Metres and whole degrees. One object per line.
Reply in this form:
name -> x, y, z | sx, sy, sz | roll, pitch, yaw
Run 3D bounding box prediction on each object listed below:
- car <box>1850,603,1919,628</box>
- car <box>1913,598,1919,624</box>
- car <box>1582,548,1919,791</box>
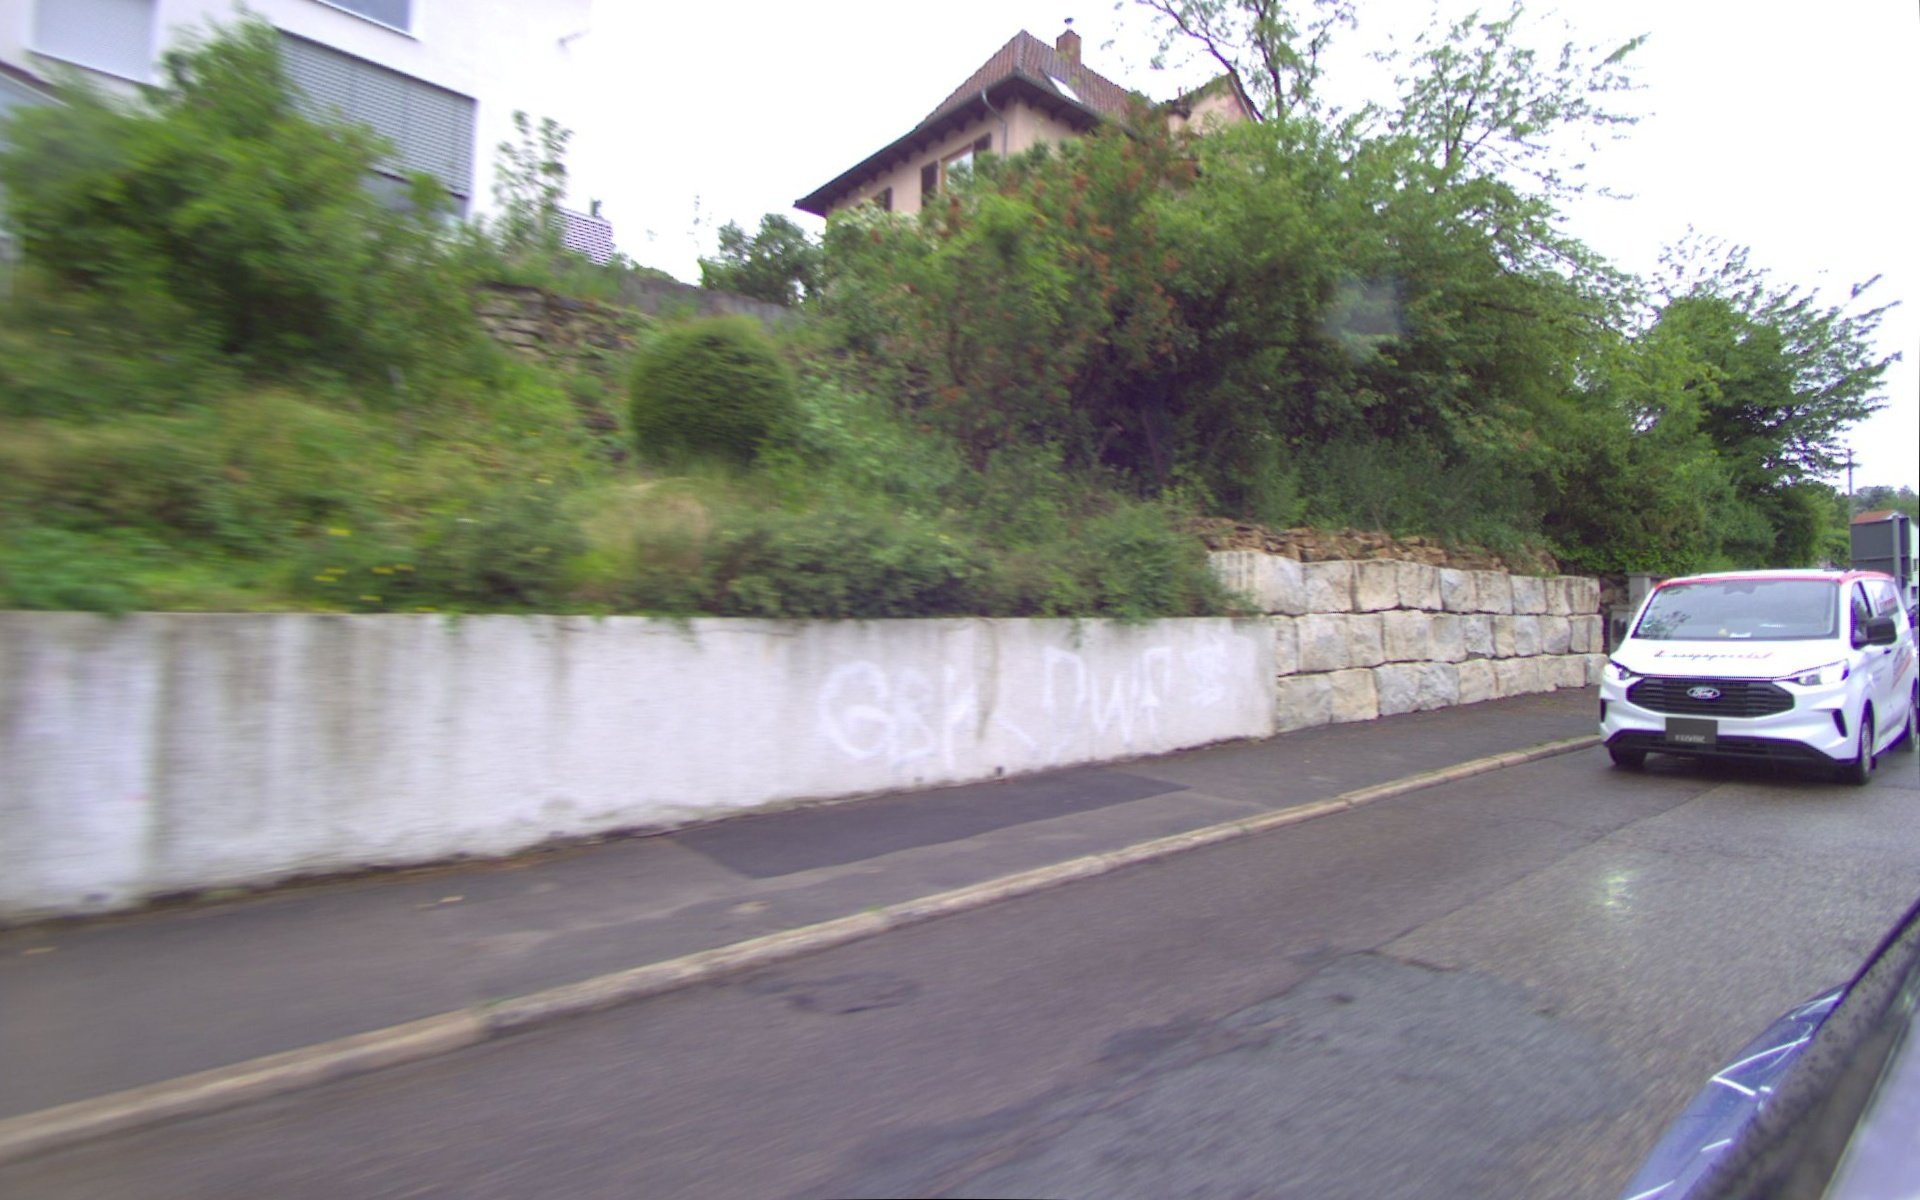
car -> 65.078, 1.075, 71.043 | 2.138, 1.589, 4.676 | -2, -1, 19
car -> 55.591, 0.626, 57.166 | 1.670, 1.502, 4.154 | -3, -1, 32
car -> 8.370, 0.585, 10.425 | 4.435, 1.964, 2.040 | 0, -1, -40
